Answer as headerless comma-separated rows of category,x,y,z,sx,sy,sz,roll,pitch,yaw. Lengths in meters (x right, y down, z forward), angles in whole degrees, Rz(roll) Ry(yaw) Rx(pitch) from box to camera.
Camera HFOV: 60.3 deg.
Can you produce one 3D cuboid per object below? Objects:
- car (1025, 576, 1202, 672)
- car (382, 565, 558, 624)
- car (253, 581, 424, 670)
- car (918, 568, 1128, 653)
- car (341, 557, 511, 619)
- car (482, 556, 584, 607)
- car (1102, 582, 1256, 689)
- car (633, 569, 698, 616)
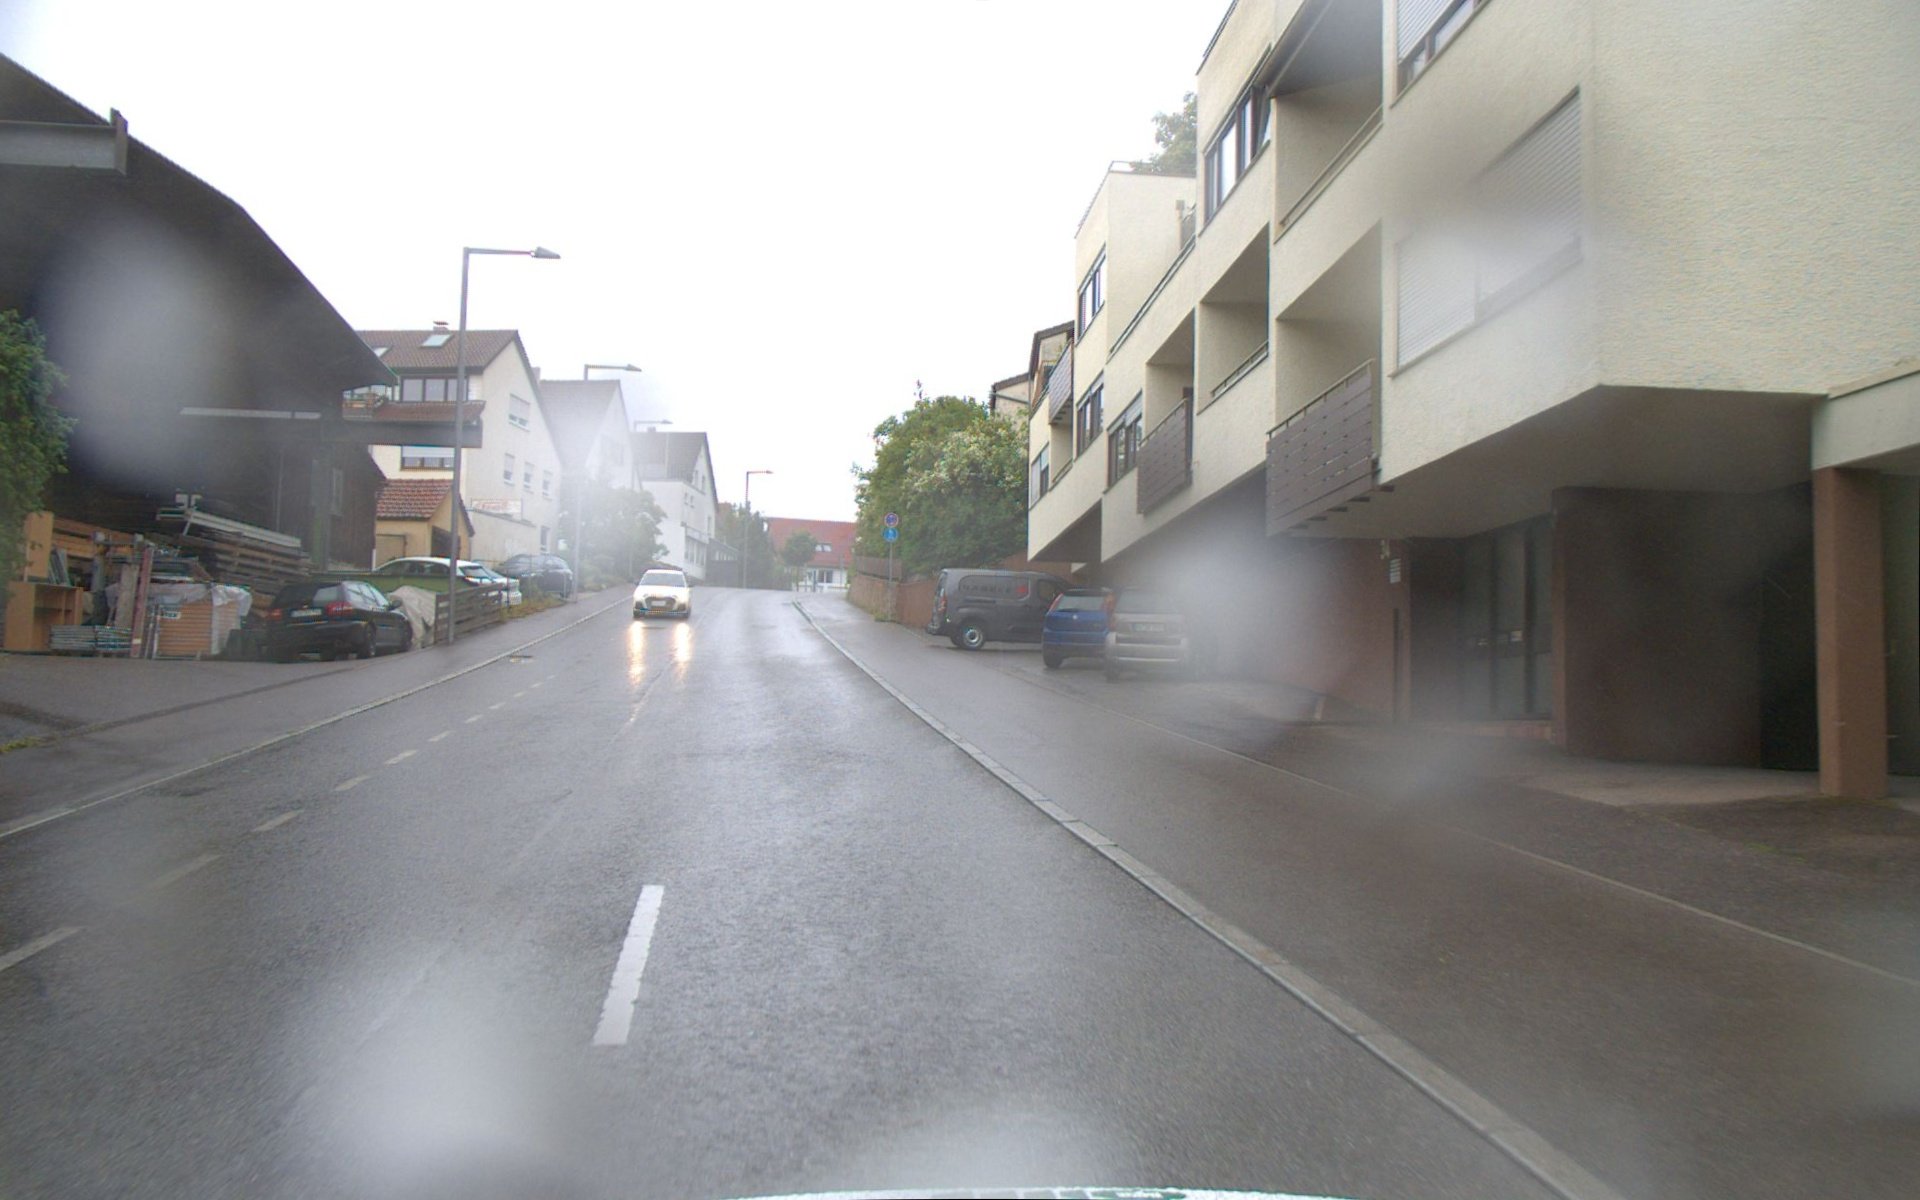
car,2.992,0.453,31.454,1.749,1.606,4.058,4,1,30
car,-13.963,-0.176,47.286,4.402,1.531,1.902,1,1,4
car,-11.369,0.410,30.568,1.858,1.466,4.441,0,1,-6
car,1.430,0.237,38.699,4.619,1.852,1.997,1,1,-8
car,-14.346,-0.344,44.568,3.903,1.531,1.902,1,1,4
car,-15.250,-0.673,59.314,1.932,1.688,4.966,1,1,5
car,3.849,0.578,28.491,1.745,1.606,4.068,4,1,20
car,-9.318,-0.240,52.580,1.669,1.412,4.046,-1,1,-5
